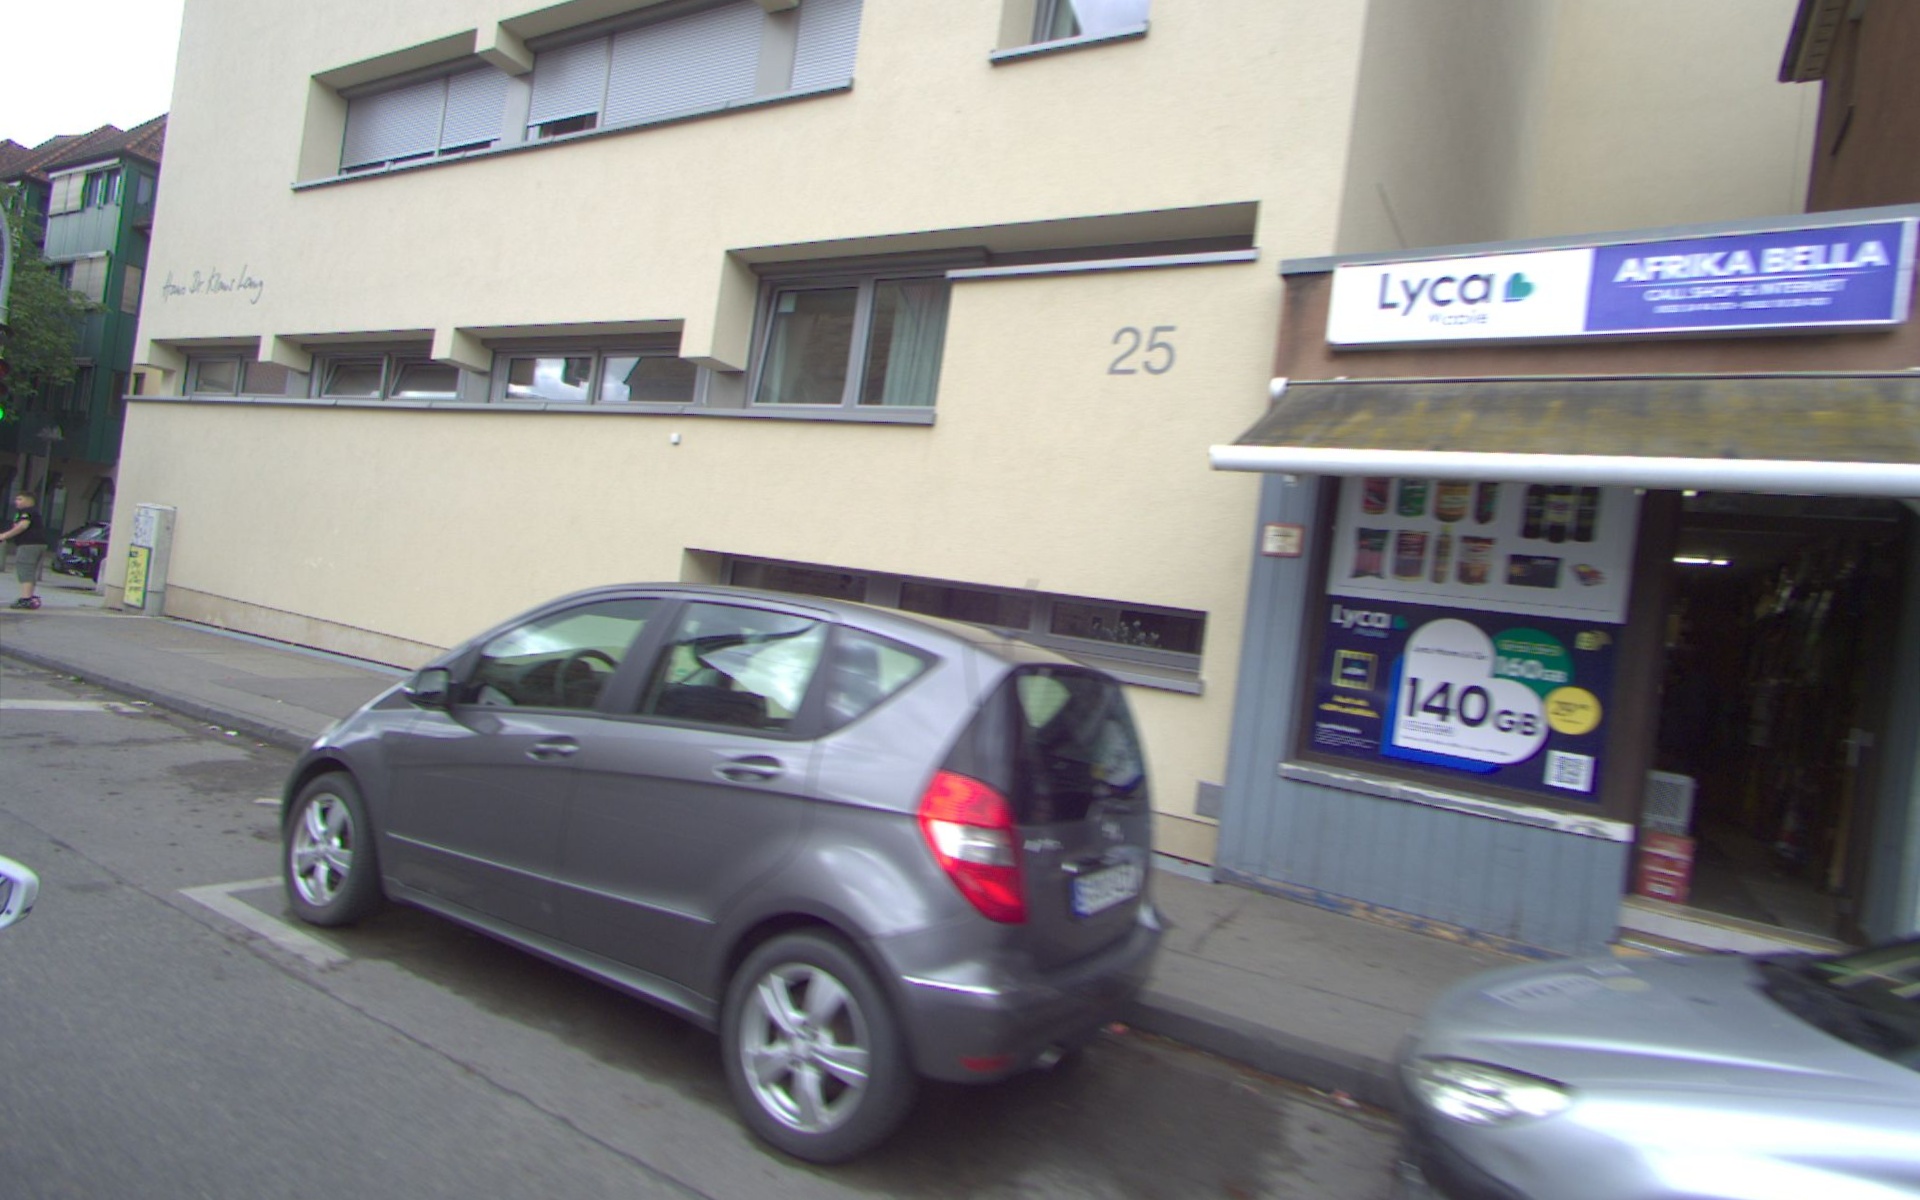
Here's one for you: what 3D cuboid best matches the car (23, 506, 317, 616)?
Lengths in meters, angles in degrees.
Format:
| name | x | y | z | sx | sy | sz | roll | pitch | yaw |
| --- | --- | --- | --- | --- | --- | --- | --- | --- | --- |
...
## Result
| name | x | y | z | sx | sy | sz | roll | pitch | yaw |
| --- | --- | --- | --- | --- | --- | --- | --- | --- | --- |
| car | -16.667 | -0.768 | 21.461 | 1.825 | 1.591 | 4.514 | 6 | -3 | 37 |

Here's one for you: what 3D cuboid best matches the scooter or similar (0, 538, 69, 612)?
| name | x | y | z | sx | sy | sz | roll | pitch | yaw |
| --- | --- | --- | --- | --- | --- | --- | --- | --- | --- |
| scooter or similar | -12.956 | -0.349 | 13.874 | 0.805 | 0.958 | 0.663 | 4 | 1 | 20 |

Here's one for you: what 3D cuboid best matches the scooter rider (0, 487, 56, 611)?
| name | x | y | z | sx | sy | sz | roll | pitch | yaw |
| --- | --- | --- | --- | --- | --- | --- | --- | --- | --- |
| scooter rider | -12.985 | -0.701 | 13.903 | 0.495 | 1.652 | 0.453 | 5 | 0 | 17 |

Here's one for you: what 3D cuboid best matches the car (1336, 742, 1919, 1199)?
| name | x | y | z | sx | sy | sz | roll | pitch | yaw |
| --- | --- | --- | --- | --- | --- | --- | --- | --- | --- |
| car | 2.859 | 1.274 | 1.960 | 3.748 | 1.348 | 1.554 | 6 | -2 | 31 |

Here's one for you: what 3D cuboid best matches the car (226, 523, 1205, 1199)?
| name | x | y | z | sx | sy | sz | roll | pitch | yaw |
| --- | --- | --- | --- | --- | --- | --- | --- | --- | --- |
| car | -1.125 | 0.695 | 4.231 | 3.722 | 1.578 | 1.715 | 6 | -2 | 31 |
